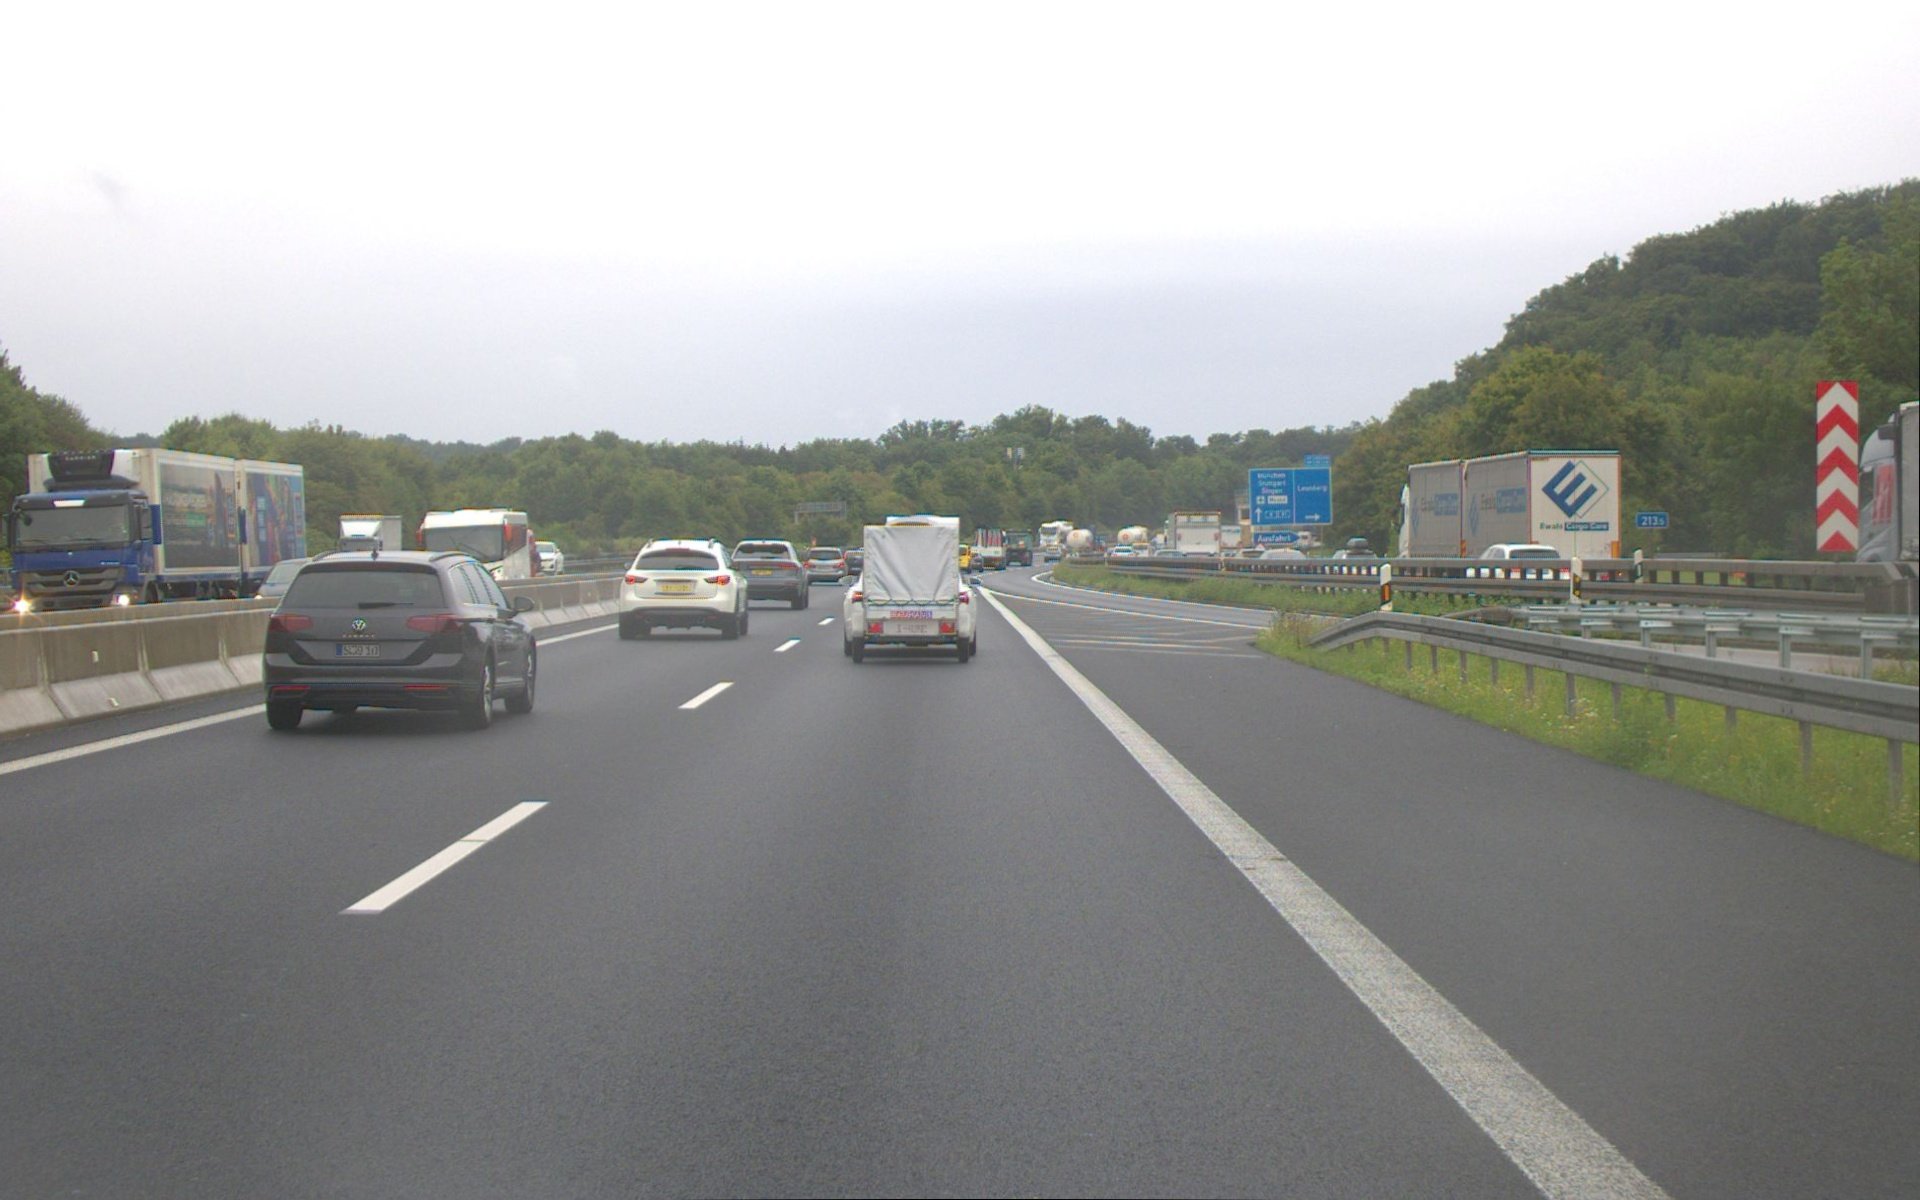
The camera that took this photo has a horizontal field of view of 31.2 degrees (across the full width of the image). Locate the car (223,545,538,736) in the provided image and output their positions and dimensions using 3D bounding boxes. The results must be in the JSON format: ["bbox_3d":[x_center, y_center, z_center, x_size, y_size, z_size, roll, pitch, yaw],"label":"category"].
[{"bbox_3d":[-4.757,0.273,28.877,1.787,1.454,4.802,1,1,0],"label":"car"}]

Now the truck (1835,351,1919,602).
[{"bbox_3d":[19.547,-2.188,58.318,3.820,4.525,16.888,0,1,-5],"label":"truck"}]

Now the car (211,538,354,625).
[{"bbox_3d":[-13.254,-0.388,67.458,1.993,1.612,4.000,1,1,0],"label":"car"}]

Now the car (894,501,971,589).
[{"bbox_3d":[-0.922,-1.759,109.807,2.331,2.716,6.540,0,1,-2],"label":"car"}]

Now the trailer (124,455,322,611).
[{"bbox_3d":[-17.479,-1.573,82.032,2.943,3.504,8.052,1,1,0],"label":"trailer"}]

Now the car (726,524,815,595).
[{"bbox_3d":[-4.703,-1.030,85.839,1.975,1.697,4.802,1,1,-1],"label":"car"}]

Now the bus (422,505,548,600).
[{"bbox_3d":[-13.575,-1.366,98.740,2.541,2.577,8.272,1,1,-1],"label":"bus"}]

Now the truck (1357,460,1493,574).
[{"bbox_3d":[14.839,-2.621,110.136,2.937,3.515,5.928,1,1,-6],"label":"truck"}]

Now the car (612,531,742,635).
[{"bbox_3d":[-4.783,-0.311,57.623,2.048,1.665,4.542,1,1,-6],"label":"car"}]

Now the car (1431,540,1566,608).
[{"bbox_3d":[13.173,-0.647,84.435,1.993,1.611,5.080,0,1,-6],"label":"car"}]

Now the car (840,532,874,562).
[{"bbox_3d":[-5.483,-2.812,183.787,1.645,1.568,4.000,1,1,0],"label":"car"}]

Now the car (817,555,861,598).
[{"bbox_3d":[-5.085,-1.002,144.706,1.738,1.787,4.000,1,1,0],"label":"car"}]

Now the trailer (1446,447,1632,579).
[{"bbox_3d":[16.269,-2.415,97.192,3.077,3.515,8.086,1,1,-6],"label":"trailer"}]

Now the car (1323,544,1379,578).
[{"bbox_3d":[15.163,-1.508,133.412,1.697,1.284,3.535,1,0,-1],"label":"car"}]

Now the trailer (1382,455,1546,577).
[{"bbox_3d":[15.359,-2.537,105.449,2.937,3.515,8.421,1,1,-6],"label":"trailer"}]

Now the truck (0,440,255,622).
[{"bbox_3d":[-17.439,-1.420,72.724,2.808,3.512,10.641,1,1,0],"label":"truck"}]

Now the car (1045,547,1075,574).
[{"bbox_3d":[6.031,-2.368,207.455,1.645,1.568,4.000,1,1,0],"label":"car"}]

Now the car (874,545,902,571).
[{"bbox_3d":[-4.539,-2.649,217.337,1.645,1.568,4.000,1,1,0],"label":"car"}]

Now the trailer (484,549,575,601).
[{"bbox_3d":[-17.717,-1.065,142.065,2.536,2.007,10.245,0,1,0],"label":"trailer"}]

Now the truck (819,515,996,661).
[{"bbox_3d":[-0.699,-0.201,47.360,2.242,1.833,6.585,1,1,-1],"label":"truck"}]

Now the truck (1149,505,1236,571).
[{"bbox_3d":[13.313,-3.569,197.739,3.824,3.646,8.273,1,1,-4],"label":"truck"}]

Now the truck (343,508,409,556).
[{"bbox_3d":[-35.872,-4.164,211.438,2.739,2.863,8.541,0,1,-1],"label":"truck"}]
